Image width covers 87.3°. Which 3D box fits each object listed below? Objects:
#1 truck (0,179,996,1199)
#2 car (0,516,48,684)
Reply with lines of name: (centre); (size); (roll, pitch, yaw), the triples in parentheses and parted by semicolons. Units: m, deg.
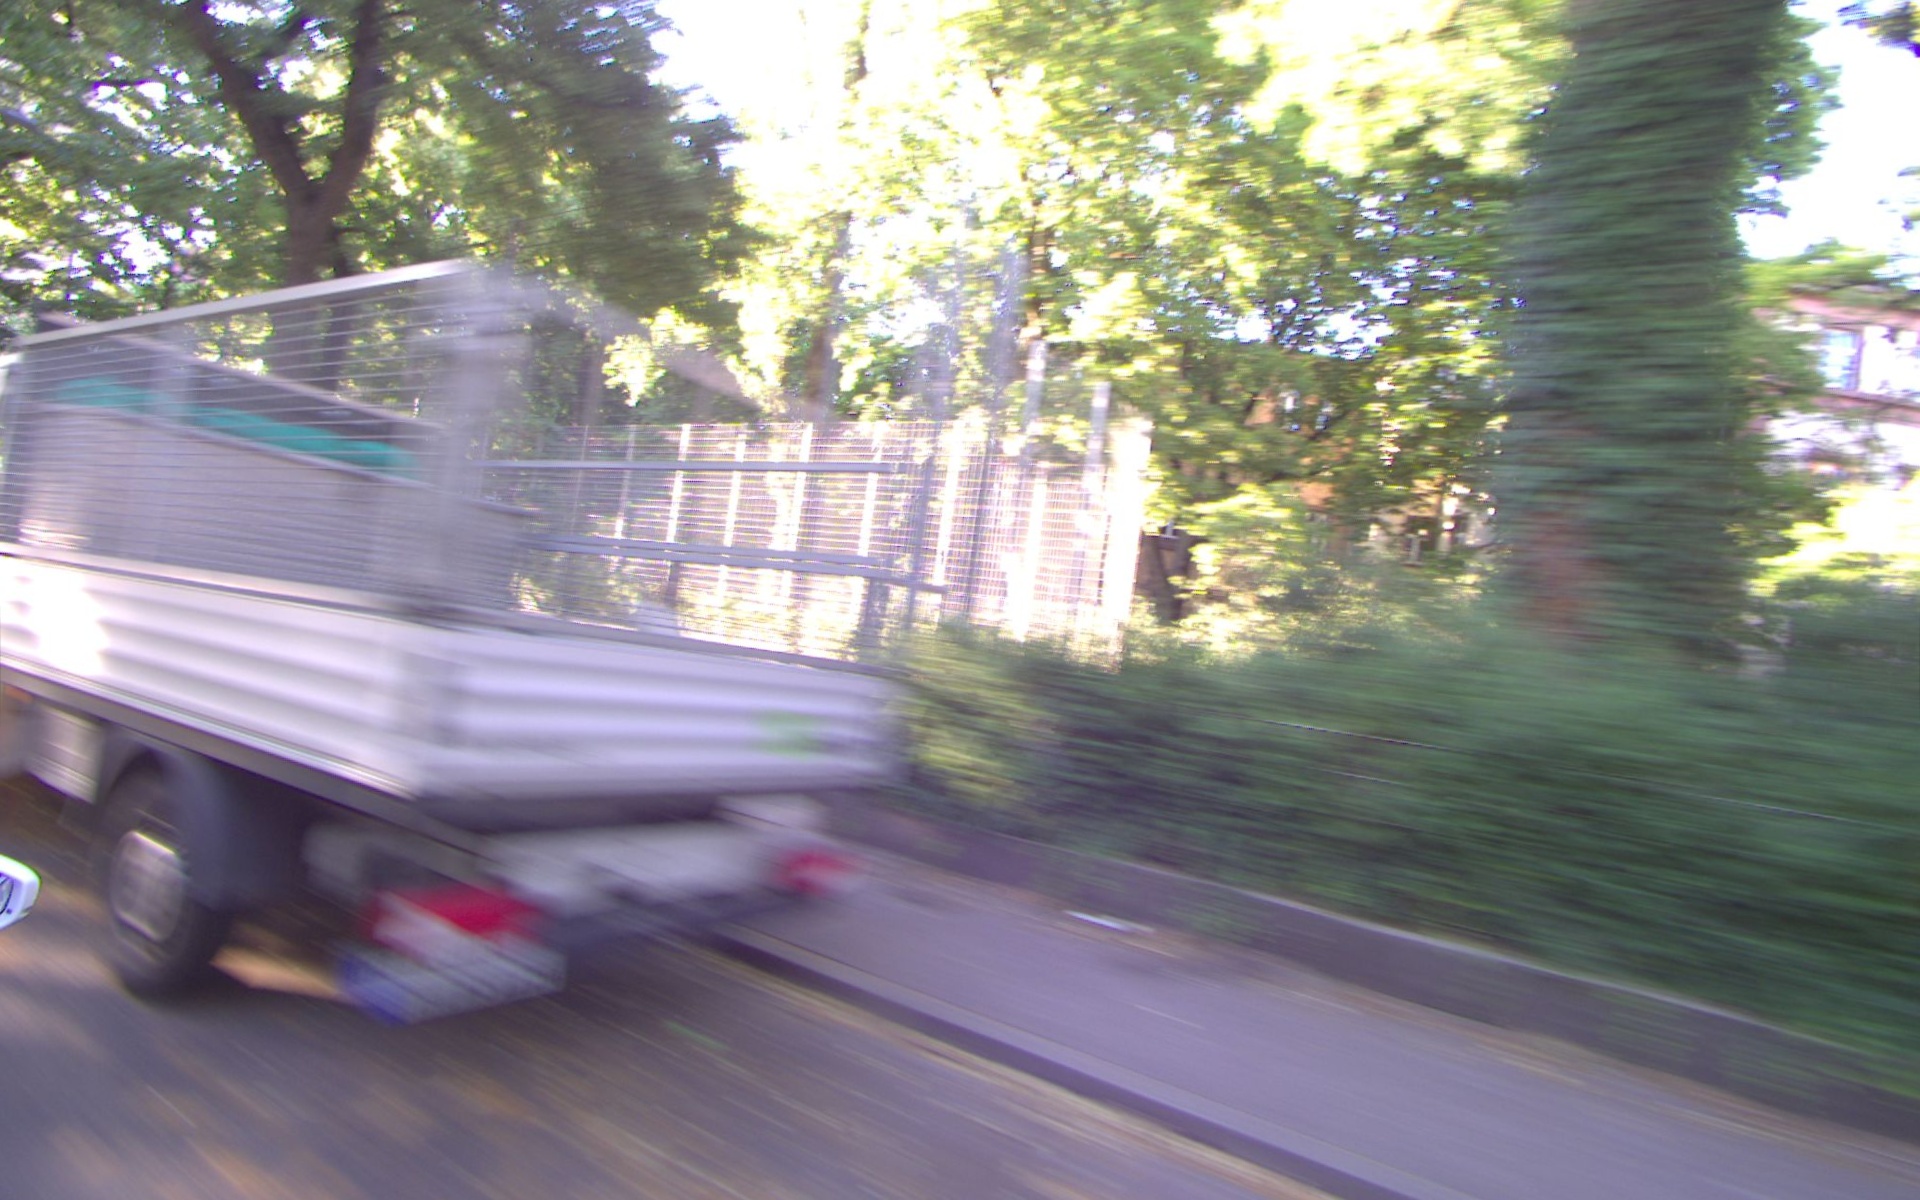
truck: (-3.455, 0.032, 5.127); (6.820, 2.413, 2.300); (6, -2, 32)
car: (-10.269, -0.257, 9.298); (4.230, 1.413, 1.675); (6, -3, 34)
